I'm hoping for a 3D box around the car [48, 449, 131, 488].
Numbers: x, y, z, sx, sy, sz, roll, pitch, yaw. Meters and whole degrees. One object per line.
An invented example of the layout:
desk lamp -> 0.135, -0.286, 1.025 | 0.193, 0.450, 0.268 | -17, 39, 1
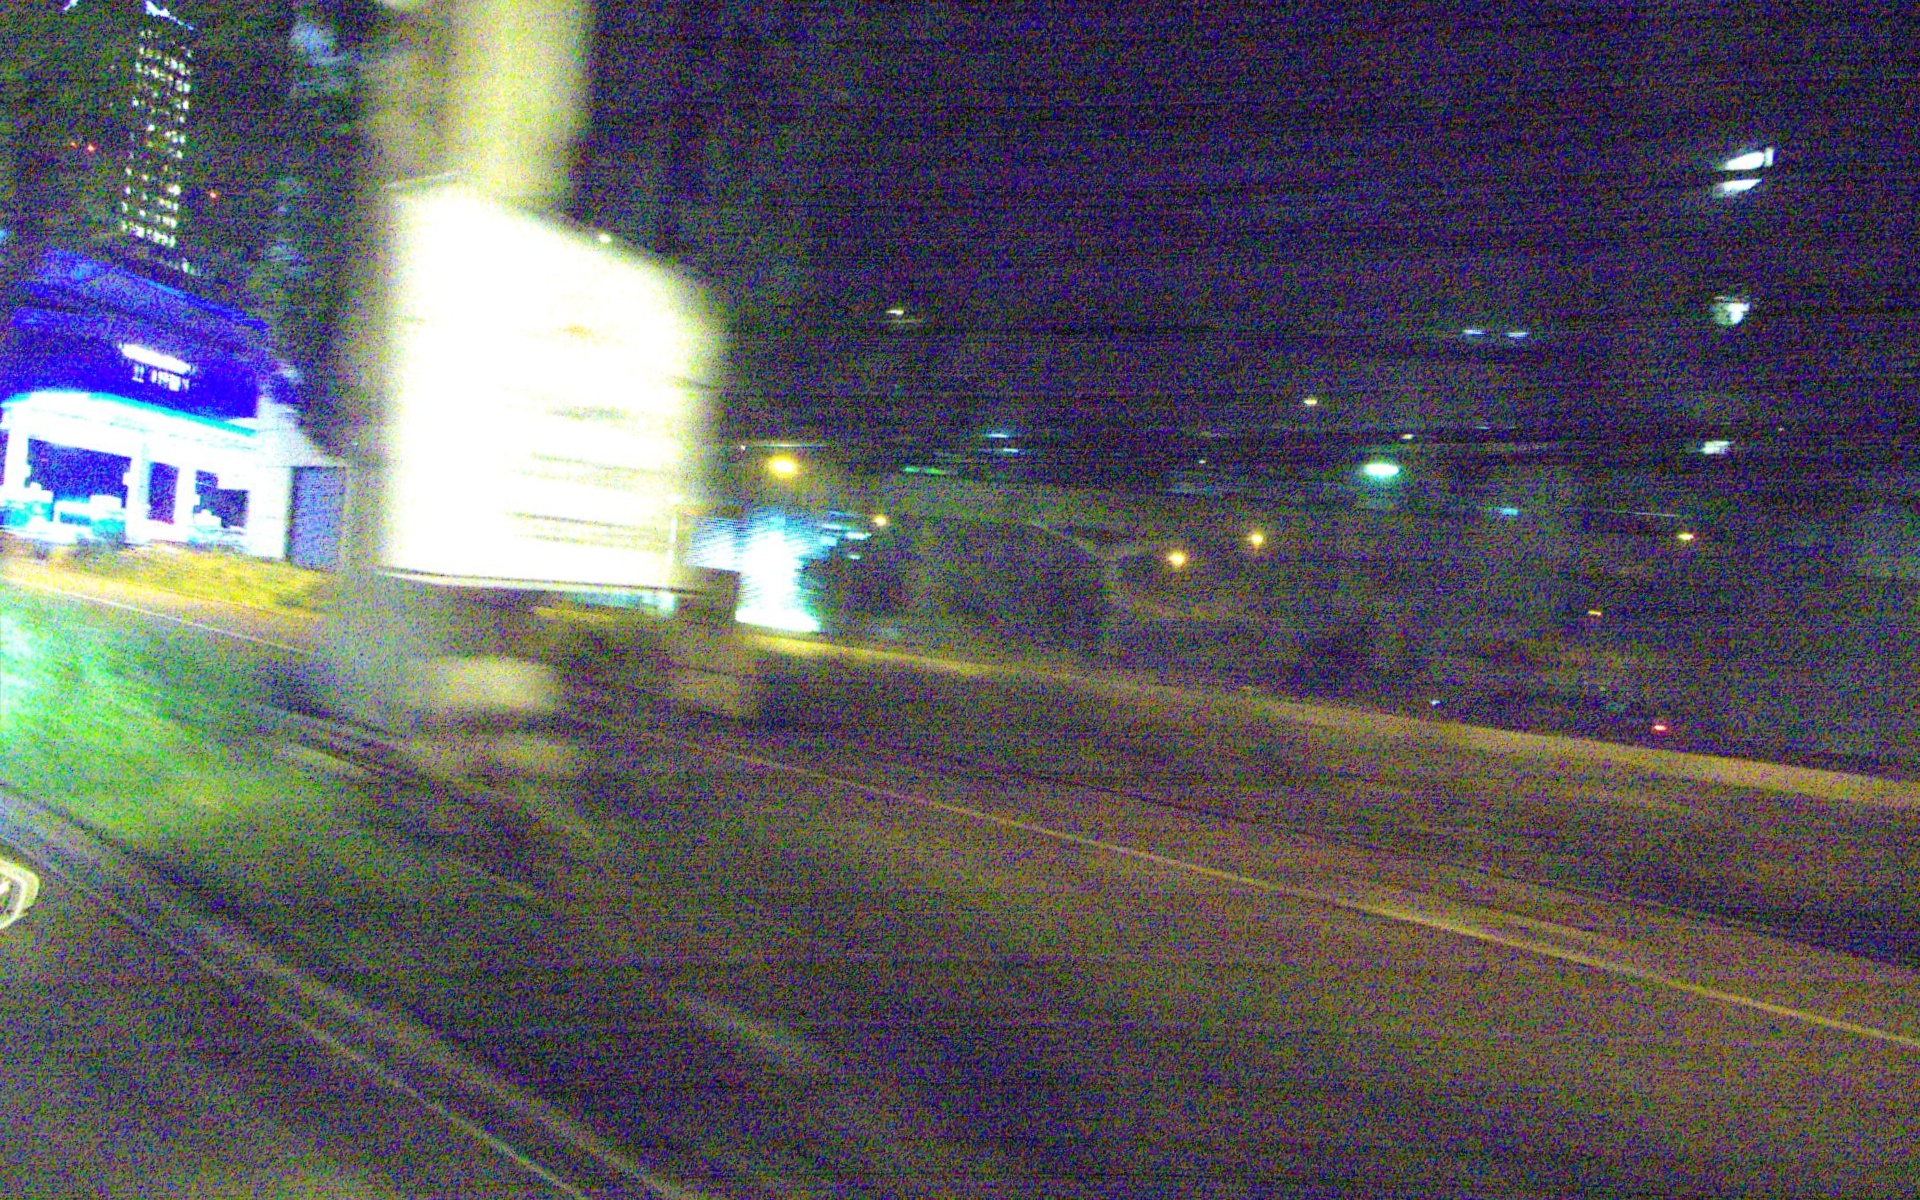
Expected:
car -> -60.010, -9.053, 69.392 | 1.722, 1.918, 3.819 | 6, -1, 28
